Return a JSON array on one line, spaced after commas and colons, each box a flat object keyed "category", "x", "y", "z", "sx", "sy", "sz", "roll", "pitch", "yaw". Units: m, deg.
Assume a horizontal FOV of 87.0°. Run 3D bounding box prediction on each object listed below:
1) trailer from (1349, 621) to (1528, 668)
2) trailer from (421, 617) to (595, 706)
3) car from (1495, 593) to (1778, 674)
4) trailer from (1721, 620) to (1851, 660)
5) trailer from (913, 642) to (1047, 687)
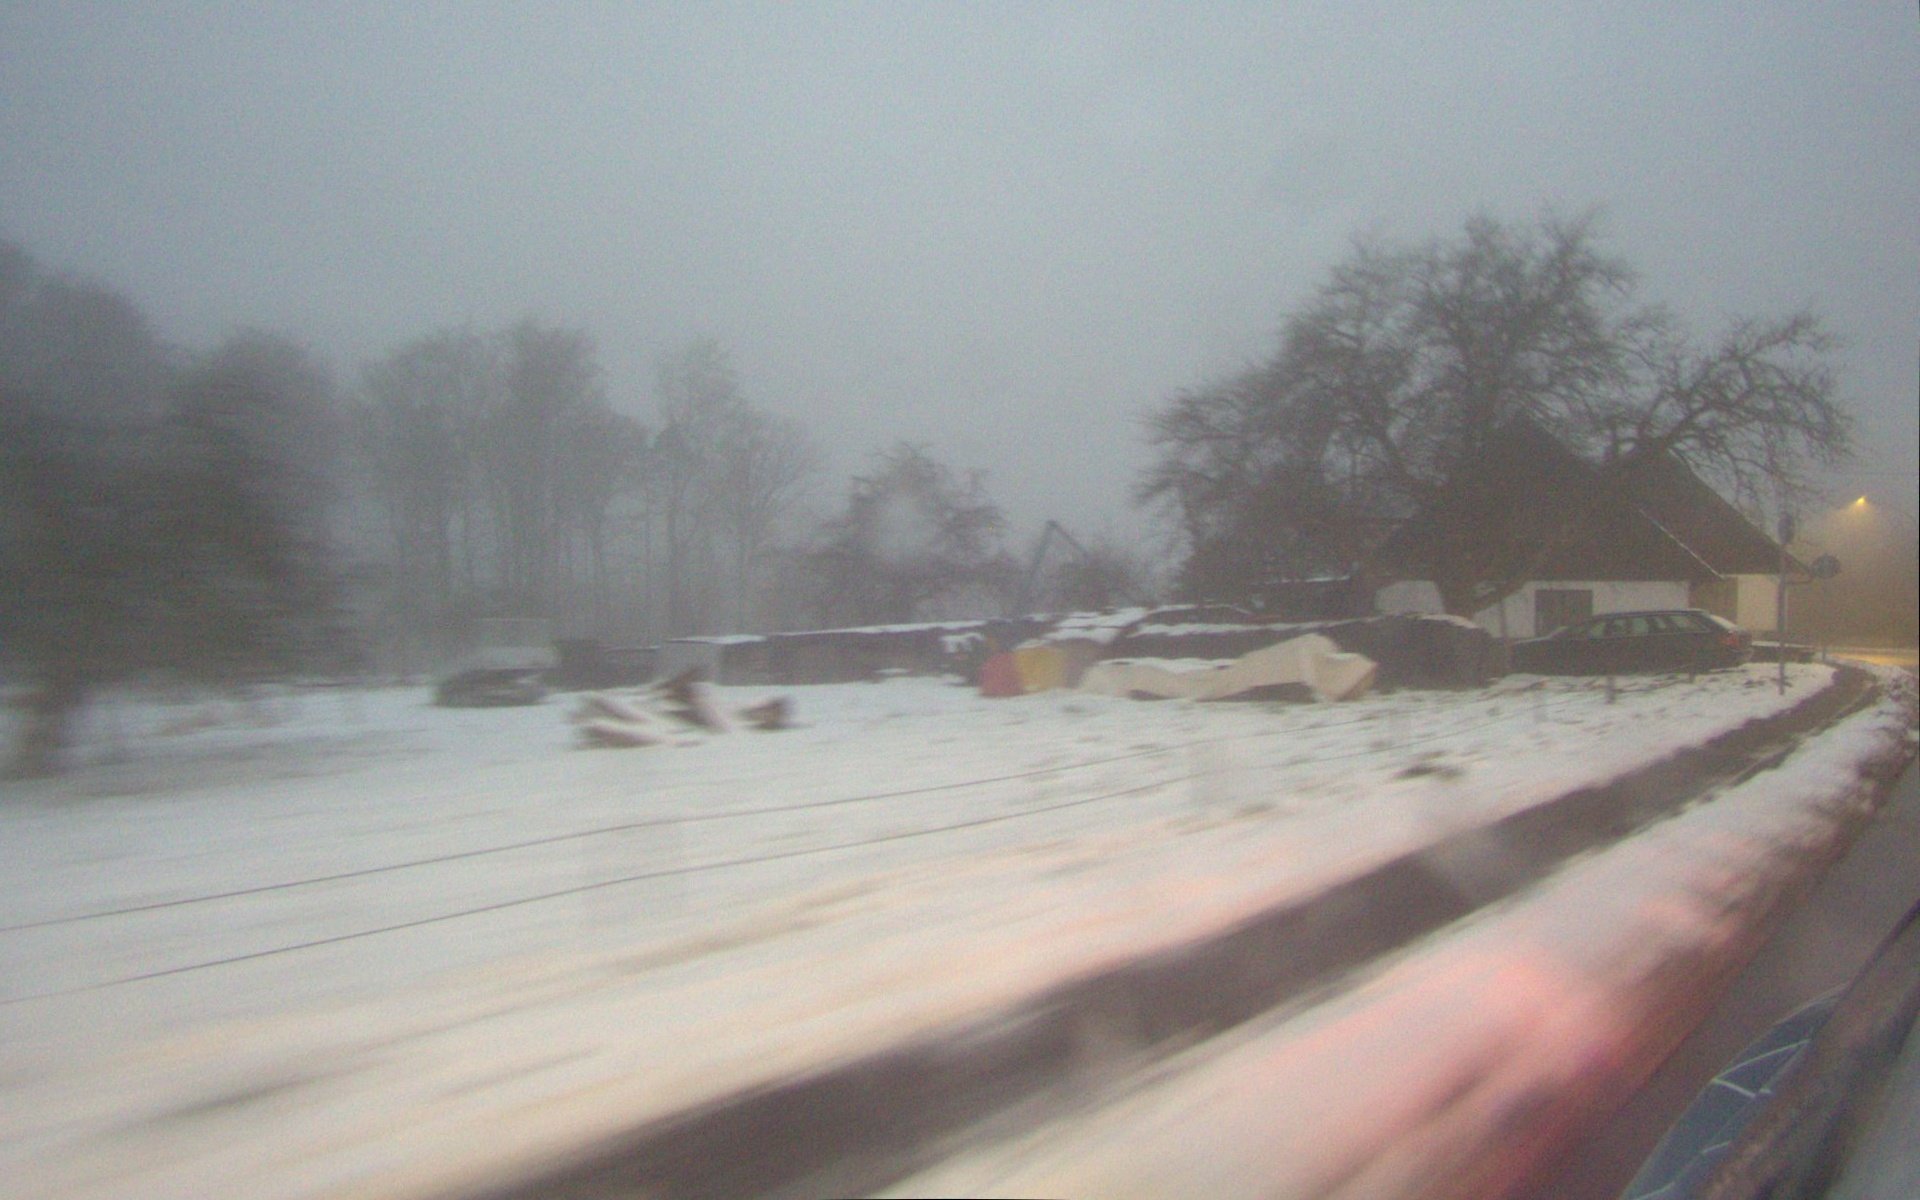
[{"category": "trailer", "x": 12.638, "y": 1.153, "z": 26.814, "sx": 3.863, "sy": 1.106, "sz": 2.213, "roll": -2, "pitch": -2, "yaw": 40}, {"category": "trailer", "x": -11.083, "y": 1.434, "z": 24.669, "sx": 4.738, "sy": 1.968, "sz": 2.190, "roll": -2, "pitch": -3, "yaw": 43}, {"category": "car", "x": 13.870, "y": 0.738, "z": 20.956, "sx": 2.001, "sy": 1.400, "sz": 4.453, "roll": 1, "pitch": -5, "yaw": -42}, {"category": "trailer", "x": 24.358, "y": 1.145, "z": 29.995, "sx": 1.528, "sy": 0.957, "sz": 3.979, "roll": 2, "pitch": 0, "yaw": 17}, {"category": "trailer", "x": 0.588, "y": 1.685, "z": 27.167, "sx": 1.839, "sy": 0.957, "sz": 3.613, "roll": 2, "pitch": 0, "yaw": 37}]
